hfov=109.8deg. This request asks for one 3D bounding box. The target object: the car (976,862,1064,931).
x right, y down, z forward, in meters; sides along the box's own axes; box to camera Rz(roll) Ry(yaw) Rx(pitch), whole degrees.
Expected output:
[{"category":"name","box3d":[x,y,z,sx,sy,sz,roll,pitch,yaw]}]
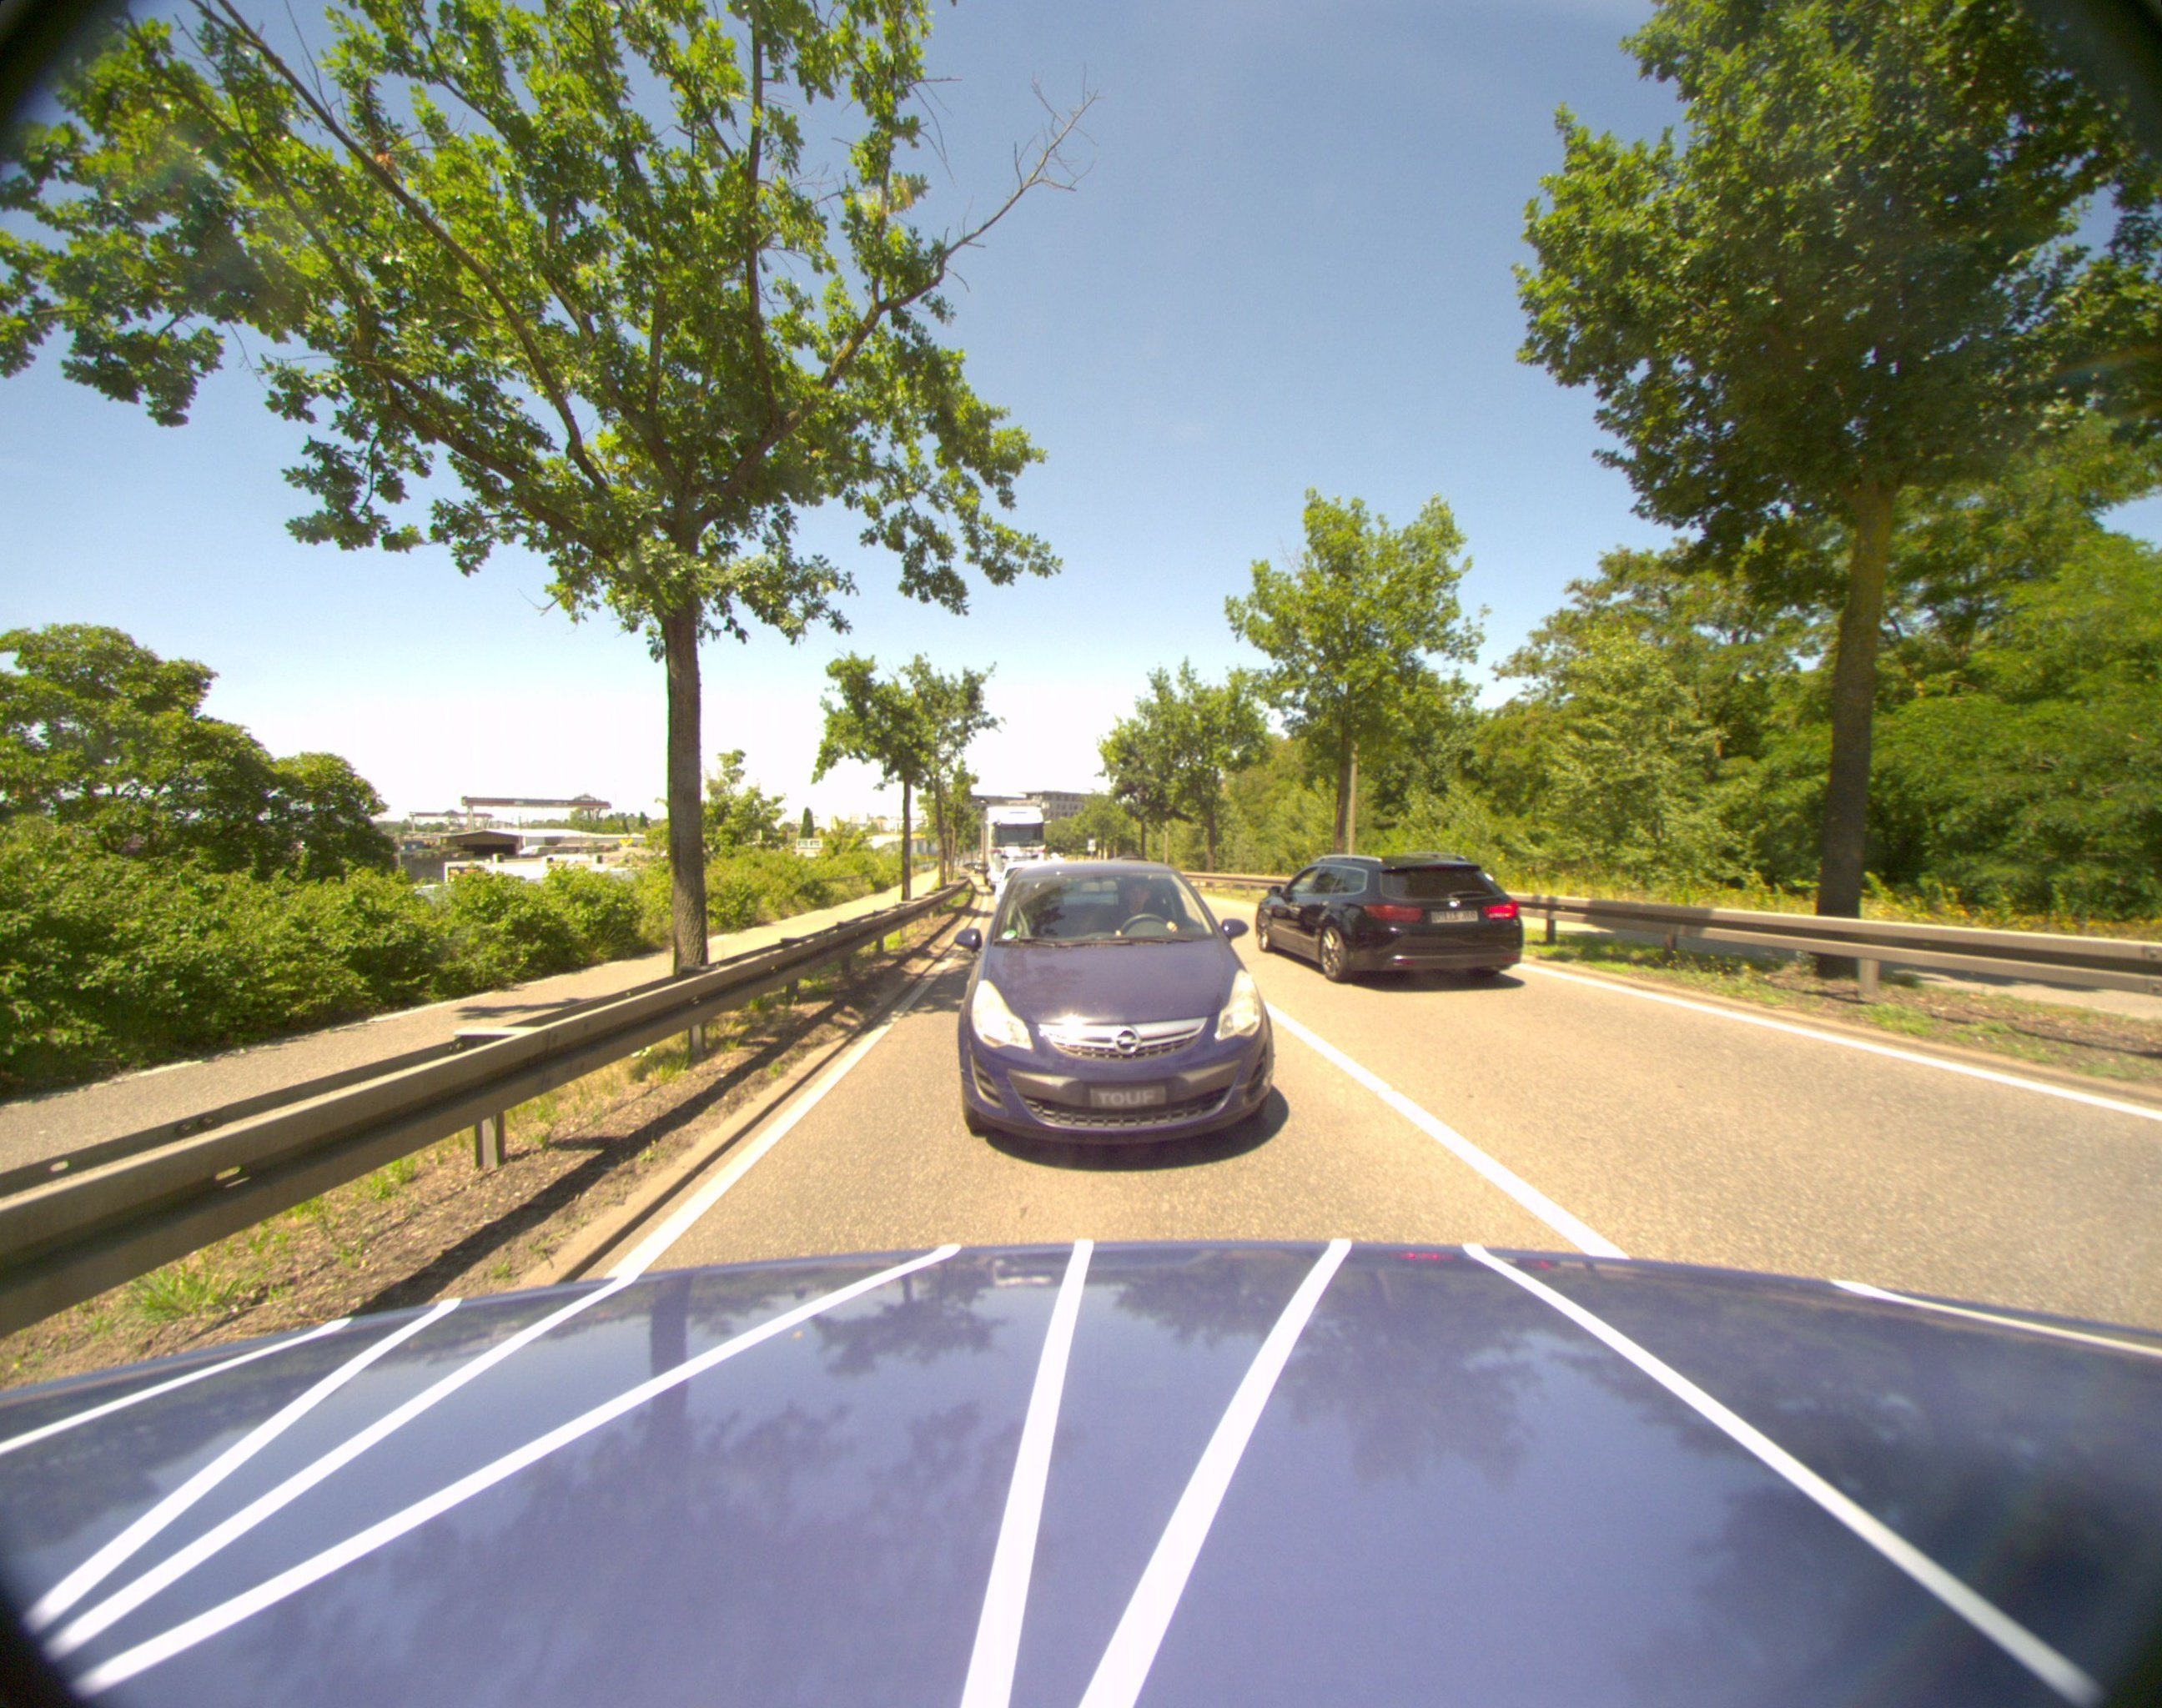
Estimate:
[{"category":"car","box3d":[-1.389,0.964,18.644,1.816,1.420,3.715,-2,0,0]}]

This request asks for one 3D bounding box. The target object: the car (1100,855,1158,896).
[{"category":"car","box3d":[1.849,0.828,30.504,1.750,1.483,3.732,-1,0,-5]}]

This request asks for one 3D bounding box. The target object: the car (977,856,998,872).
[{"category":"car","box3d":[-9.517,1.026,77.665,1.976,1.567,3.998,-2,0,-5]}]

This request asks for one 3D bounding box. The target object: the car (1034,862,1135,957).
[{"category":"car","box3d":[0.018,0.901,14.132,1.569,1.408,4.121,-2,0,-1]}]

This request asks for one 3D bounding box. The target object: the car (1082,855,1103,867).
[{"category":"car","box3d":[1.583,0.942,100.964,1.701,1.406,3.963,-1,0,17]}]

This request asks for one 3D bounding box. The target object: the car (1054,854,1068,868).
[{"category":"car","box3d":[-2.261,0.784,85.965,1.537,1.406,3.552,-1,0,-2]}]

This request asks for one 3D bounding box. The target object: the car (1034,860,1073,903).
[{"category":"car","box3d":[-0.990,0.937,26.880,1.250,1.376,3.103,-2,0,-3]}]

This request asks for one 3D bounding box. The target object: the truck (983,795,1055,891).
[{"category":"truck","box3d":[-3.342,-0.484,38.489,2.859,4.244,8.808,-2,0,-9]}]

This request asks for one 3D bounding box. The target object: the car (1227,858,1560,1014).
[{"category":"car","box3d":[3.453,0.785,9.578,1.882,1.372,4.667,-2,0,-5]}]

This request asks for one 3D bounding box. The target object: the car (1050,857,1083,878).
[{"category":"car","box3d":[-1.078,0.916,54.109,1.613,1.374,3.842,-2,0,-12]}]

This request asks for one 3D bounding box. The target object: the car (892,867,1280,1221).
[{"category":"car","box3d":[0.036,0.892,5.603,1.698,1.459,4.383,-2,0,0]}]

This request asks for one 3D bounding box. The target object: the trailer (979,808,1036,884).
[{"category":"trailer","box3d":[-5.042,-0.436,49.505,2.882,4.189,13.997,-2,0,-9]}]
